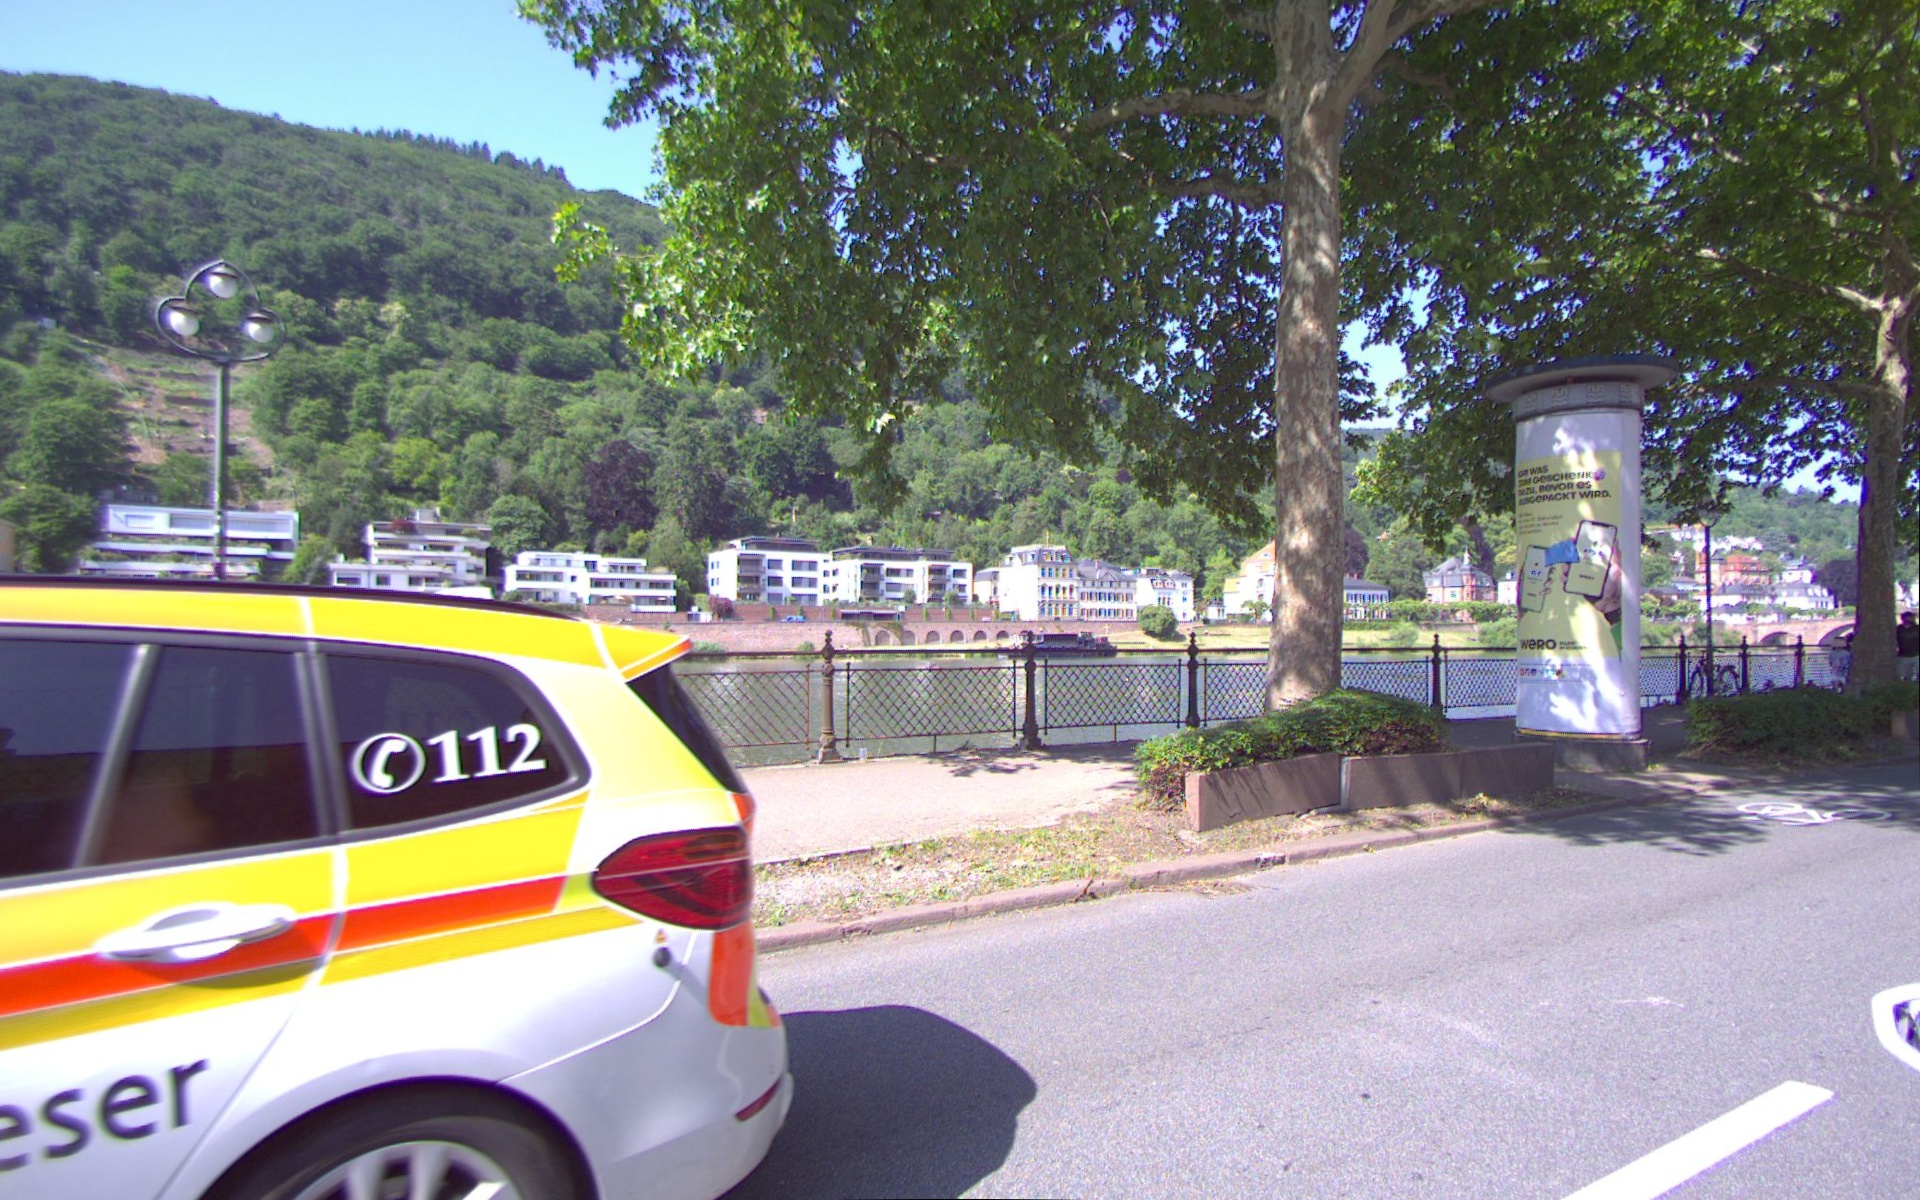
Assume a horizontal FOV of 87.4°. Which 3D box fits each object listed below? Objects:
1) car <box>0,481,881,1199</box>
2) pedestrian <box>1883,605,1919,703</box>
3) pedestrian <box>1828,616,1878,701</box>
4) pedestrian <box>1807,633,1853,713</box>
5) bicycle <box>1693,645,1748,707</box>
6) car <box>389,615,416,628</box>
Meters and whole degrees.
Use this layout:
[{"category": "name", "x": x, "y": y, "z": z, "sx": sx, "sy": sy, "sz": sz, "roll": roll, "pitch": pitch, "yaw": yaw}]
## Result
[{"category": "car", "x": -2.389, "y": 0.704, "z": 1.896, "sx": 4.174, "sy": 1.681, "sz": 1.666, "roll": 1, "pitch": -4, "yaw": -31}, {"category": "pedestrian", "x": 18.931, "y": 1.069, "z": 20.119, "sx": 0.431, "sy": 1.912, "sz": 0.532, "roll": 1, "pitch": 0, "yaw": -30}, {"category": "pedestrian", "x": 18.370, "y": 1.193, "z": 20.672, "sx": 0.577, "sy": 1.708, "sz": 0.598, "roll": 1, "pitch": -2, "yaw": -31}, {"category": "pedestrian", "x": 15.659, "y": 1.302, "z": 18.084, "sx": 0.411, "sy": 1.381, "sz": 0.477, "roll": 1, "pitch": 1, "yaw": -26}, {"category": "bicycle", "x": 14.363, "y": 1.428, "z": 18.965, "sx": 1.281, "sy": 1.106, "sz": 0.357, "roll": 1, "pitch": 2, "yaw": -31}, {"category": "car", "x": -94.657, "y": 3.710, "z": 170.545, "sx": 3.953, "sy": 2.041, "sz": 1.984, "roll": -1, "pitch": 1, "yaw": -30}]
